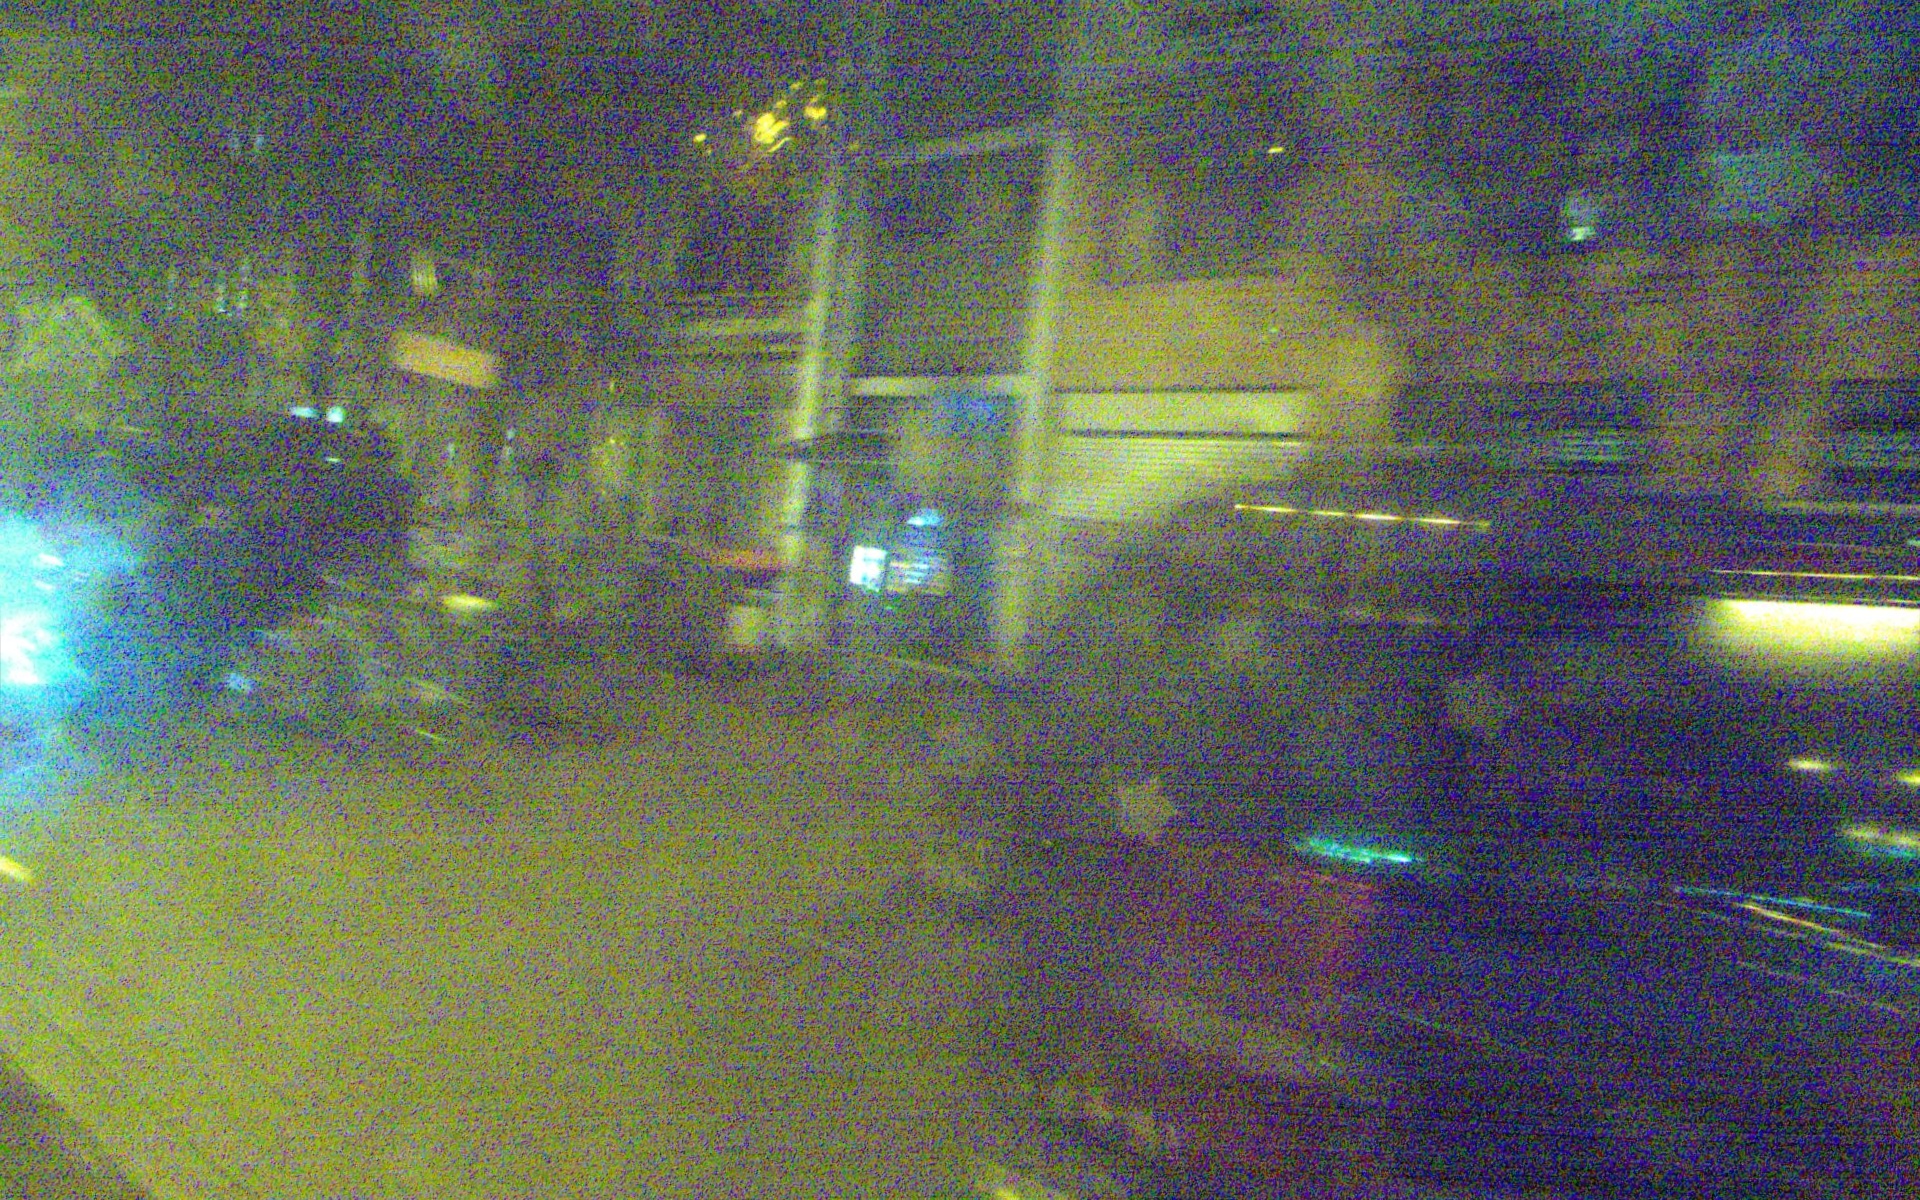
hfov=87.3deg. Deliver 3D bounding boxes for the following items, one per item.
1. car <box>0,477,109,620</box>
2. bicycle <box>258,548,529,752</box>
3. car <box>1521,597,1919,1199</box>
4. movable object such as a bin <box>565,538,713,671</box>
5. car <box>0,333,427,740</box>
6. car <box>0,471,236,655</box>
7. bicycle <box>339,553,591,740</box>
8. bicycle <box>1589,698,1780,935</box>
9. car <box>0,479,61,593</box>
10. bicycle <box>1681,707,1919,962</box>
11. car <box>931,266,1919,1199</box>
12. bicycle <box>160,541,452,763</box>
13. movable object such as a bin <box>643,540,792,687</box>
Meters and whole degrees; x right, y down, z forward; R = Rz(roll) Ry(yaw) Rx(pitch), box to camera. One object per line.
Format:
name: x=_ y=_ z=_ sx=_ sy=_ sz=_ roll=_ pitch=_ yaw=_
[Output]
car: x=-11.287 y=-0.644 z=10.501 sx=1.531 sy=1.561 sz=3.653 roll=6 pitch=0 yaw=2
bicycle: x=-4.123 y=0.335 z=7.304 sx=1.830 sy=1.186 sz=0.586 roll=7 pitch=0 yaw=22
car: x=3.179 y=0.961 z=2.048 sx=1.686 sy=1.748 sz=3.775 roll=7 pitch=-1 yaw=-2
movable object such as a bin: x=-3.731 y=0.036 z=11.748 sx=0.982 sy=1.391 sz=1.254 roll=7 pitch=4 yaw=31
car: x=-6.374 y=-0.459 z=7.967 sx=1.912 sy=2.276 sz=4.721 roll=6 pitch=0 yaw=-5
car: x=-9.005 y=-0.399 z=9.779 sx=1.549 sy=1.561 sz=3.397 roll=6 pitch=0 yaw=-5
bicycle: x=-3.894 y=0.342 z=7.897 sx=1.830 sy=1.186 sz=0.586 roll=7 pitch=0 yaw=22
bicycle: x=4.495 y=1.256 z=6.377 sx=0.500 sy=1.069 sz=1.974 roll=6 pitch=2 yaw=25
car: x=-14.161 y=-0.982 z=12.826 sx=1.965 sy=1.572 sz=3.995 roll=6 pitch=0 yaw=-6
bicycle: x=4.946 y=1.290 z=6.060 sx=0.500 sy=1.069 sz=1.974 roll=6 pitch=2 yaw=25
car: x=0.909 y=0.609 z=3.303 sx=1.686 sy=1.883 sz=4.242 roll=5 pitch=1 yaw=-4
bicycle: x=-4.372 y=0.316 z=6.711 sx=1.830 sy=1.186 sz=0.586 roll=7 pitch=0 yaw=22
movable object such as a bin: x=-2.701 y=0.128 z=11.268 sx=0.982 sy=1.471 sz=1.208 roll=7 pitch=4 yaw=31
